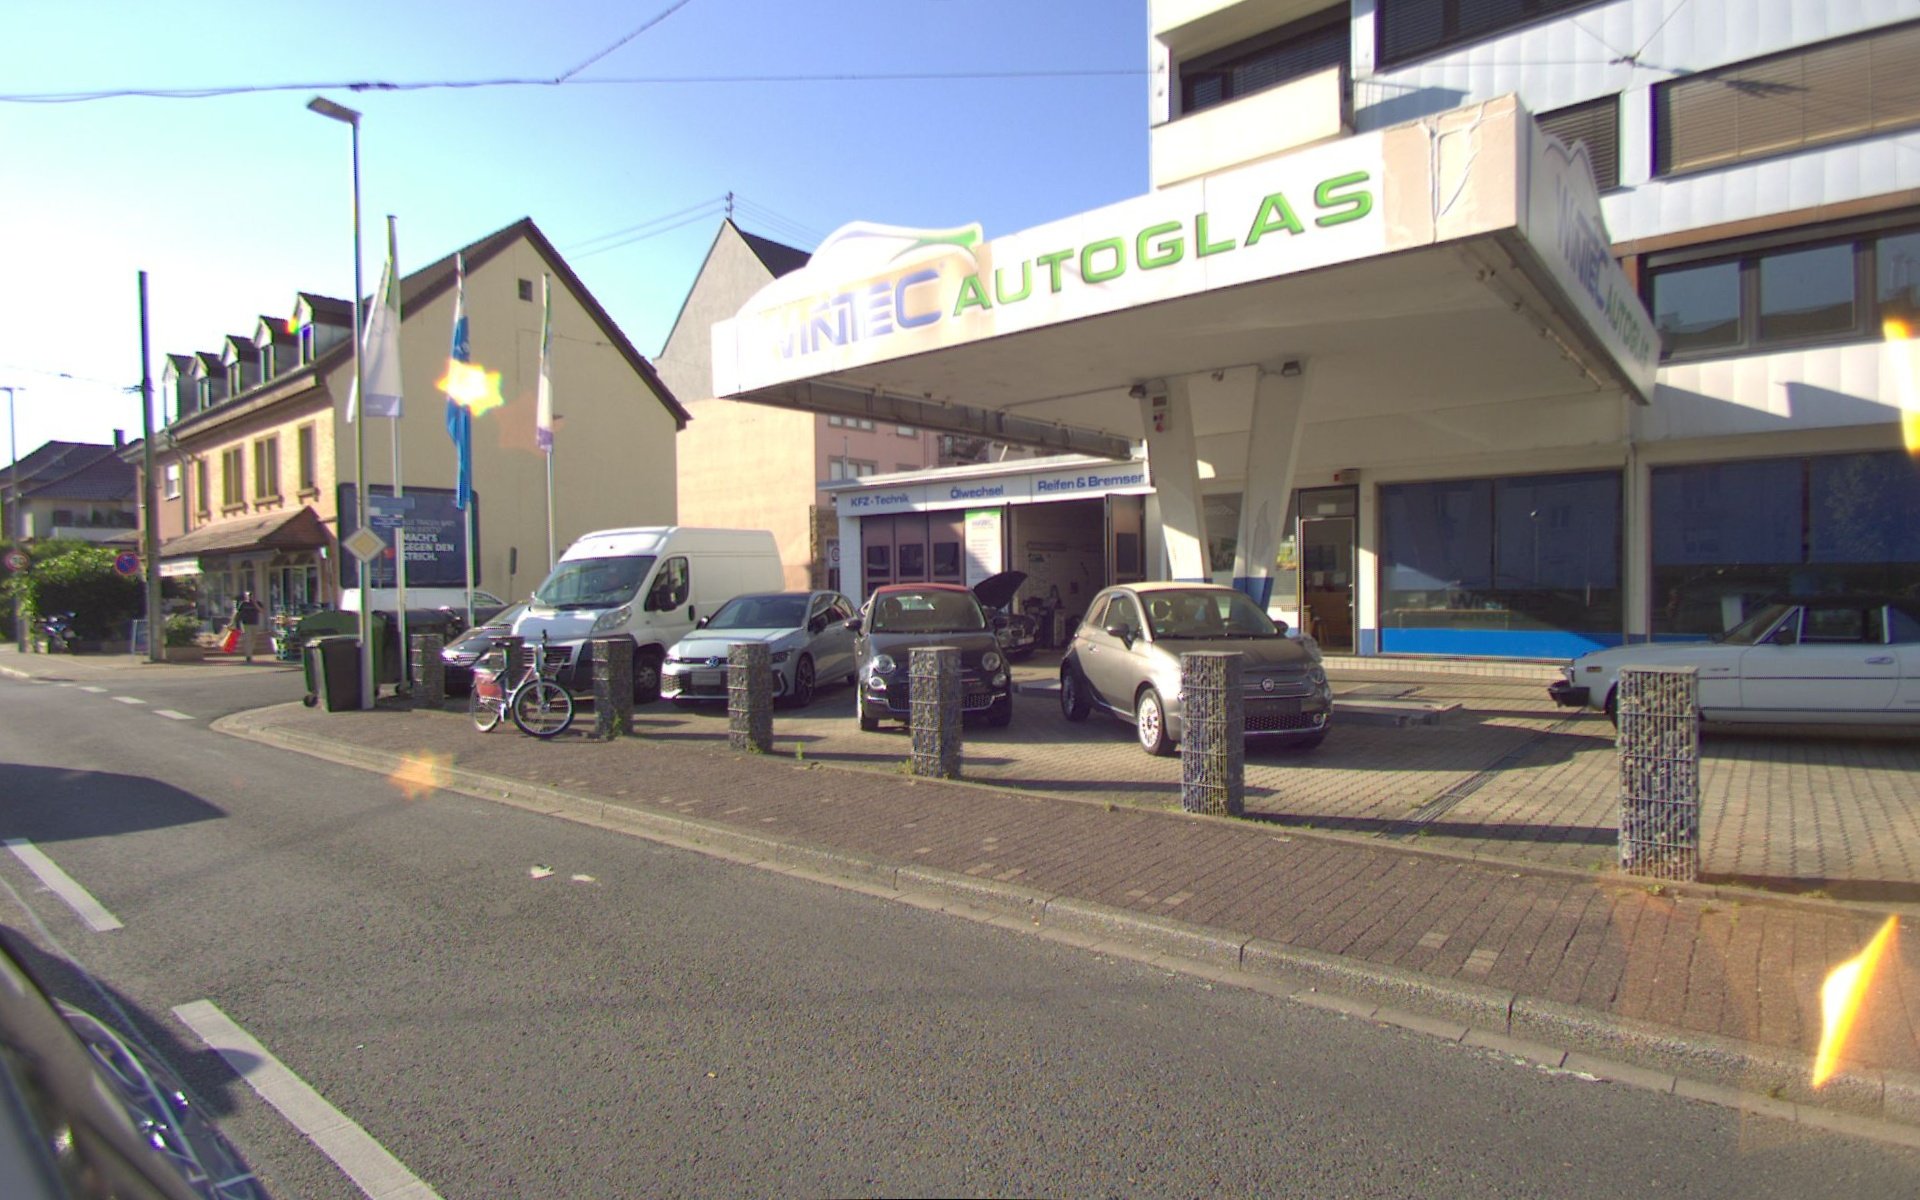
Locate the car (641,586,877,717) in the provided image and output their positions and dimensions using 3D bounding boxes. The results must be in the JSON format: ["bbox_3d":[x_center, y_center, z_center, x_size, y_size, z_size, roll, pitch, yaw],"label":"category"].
[{"bbox_3d":[-2.531,0.584,13.812,1.725,1.508,4.016,-1,0,12],"label":"car"}]

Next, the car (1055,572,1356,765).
[{"bbox_3d":[2.154,0.532,9.801,1.517,1.497,3.381,-1,0,-11],"label":"car"}]

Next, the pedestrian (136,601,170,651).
[{"bbox_3d":[-28.287,0.902,35.465,0.859,1.726,0.799,-1,0,43],"label":"pedestrian"}]

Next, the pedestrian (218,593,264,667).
[{"bbox_3d":[-18.700,0.761,26.323,0.767,1.866,0.812,-1,0,41],"label":"pedestrian"}]

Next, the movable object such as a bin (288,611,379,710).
[{"bbox_3d":[-9.705,0.913,15.721,1.030,1.475,0.798,-1,0,-18],"label":"movable object such as a bin"}]

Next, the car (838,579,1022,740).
[{"bbox_3d":[-0.482,0.561,11.516,1.569,1.508,3.443,-1,0,-10],"label":"car"}]

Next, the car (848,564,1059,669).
[{"bbox_3d":[-0.205,0.315,20.927,4.255,1.958,1.720,-1,0,40],"label":"car"}]

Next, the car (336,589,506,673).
[{"bbox_3d":[-13.892,0.734,26.260,1.449,2.029,3.628,-1,0,37],"label":"car"}]

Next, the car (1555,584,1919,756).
[{"bbox_3d":[7.386,0.539,8.578,3.898,1.308,1.506,-1,-1,37],"label":"car"}]

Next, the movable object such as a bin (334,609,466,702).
[{"bbox_3d":[-9.576,0.911,17.377,1.039,1.475,1.787,-1,0,15],"label":"movable object such as a bin"}]

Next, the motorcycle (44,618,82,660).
[{"bbox_3d":[-27.965,1.199,31.537,2.186,1.226,0.699,-1,0,43],"label":"motorcycle"}]

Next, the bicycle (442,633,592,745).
[{"bbox_3d":[-4.895,0.938,11.129,1.789,1.094,0.716,-1,1,37],"label":"bicycle"}]

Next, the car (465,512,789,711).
[{"bbox_3d":[-4.687,0.128,15.231,2.098,2.472,4.963,-1,0,18],"label":"car"}]

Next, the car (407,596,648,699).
[{"bbox_3d":[-7.061,0.700,17.016,1.725,1.488,4.016,-1,0,12],"label":"car"}]
